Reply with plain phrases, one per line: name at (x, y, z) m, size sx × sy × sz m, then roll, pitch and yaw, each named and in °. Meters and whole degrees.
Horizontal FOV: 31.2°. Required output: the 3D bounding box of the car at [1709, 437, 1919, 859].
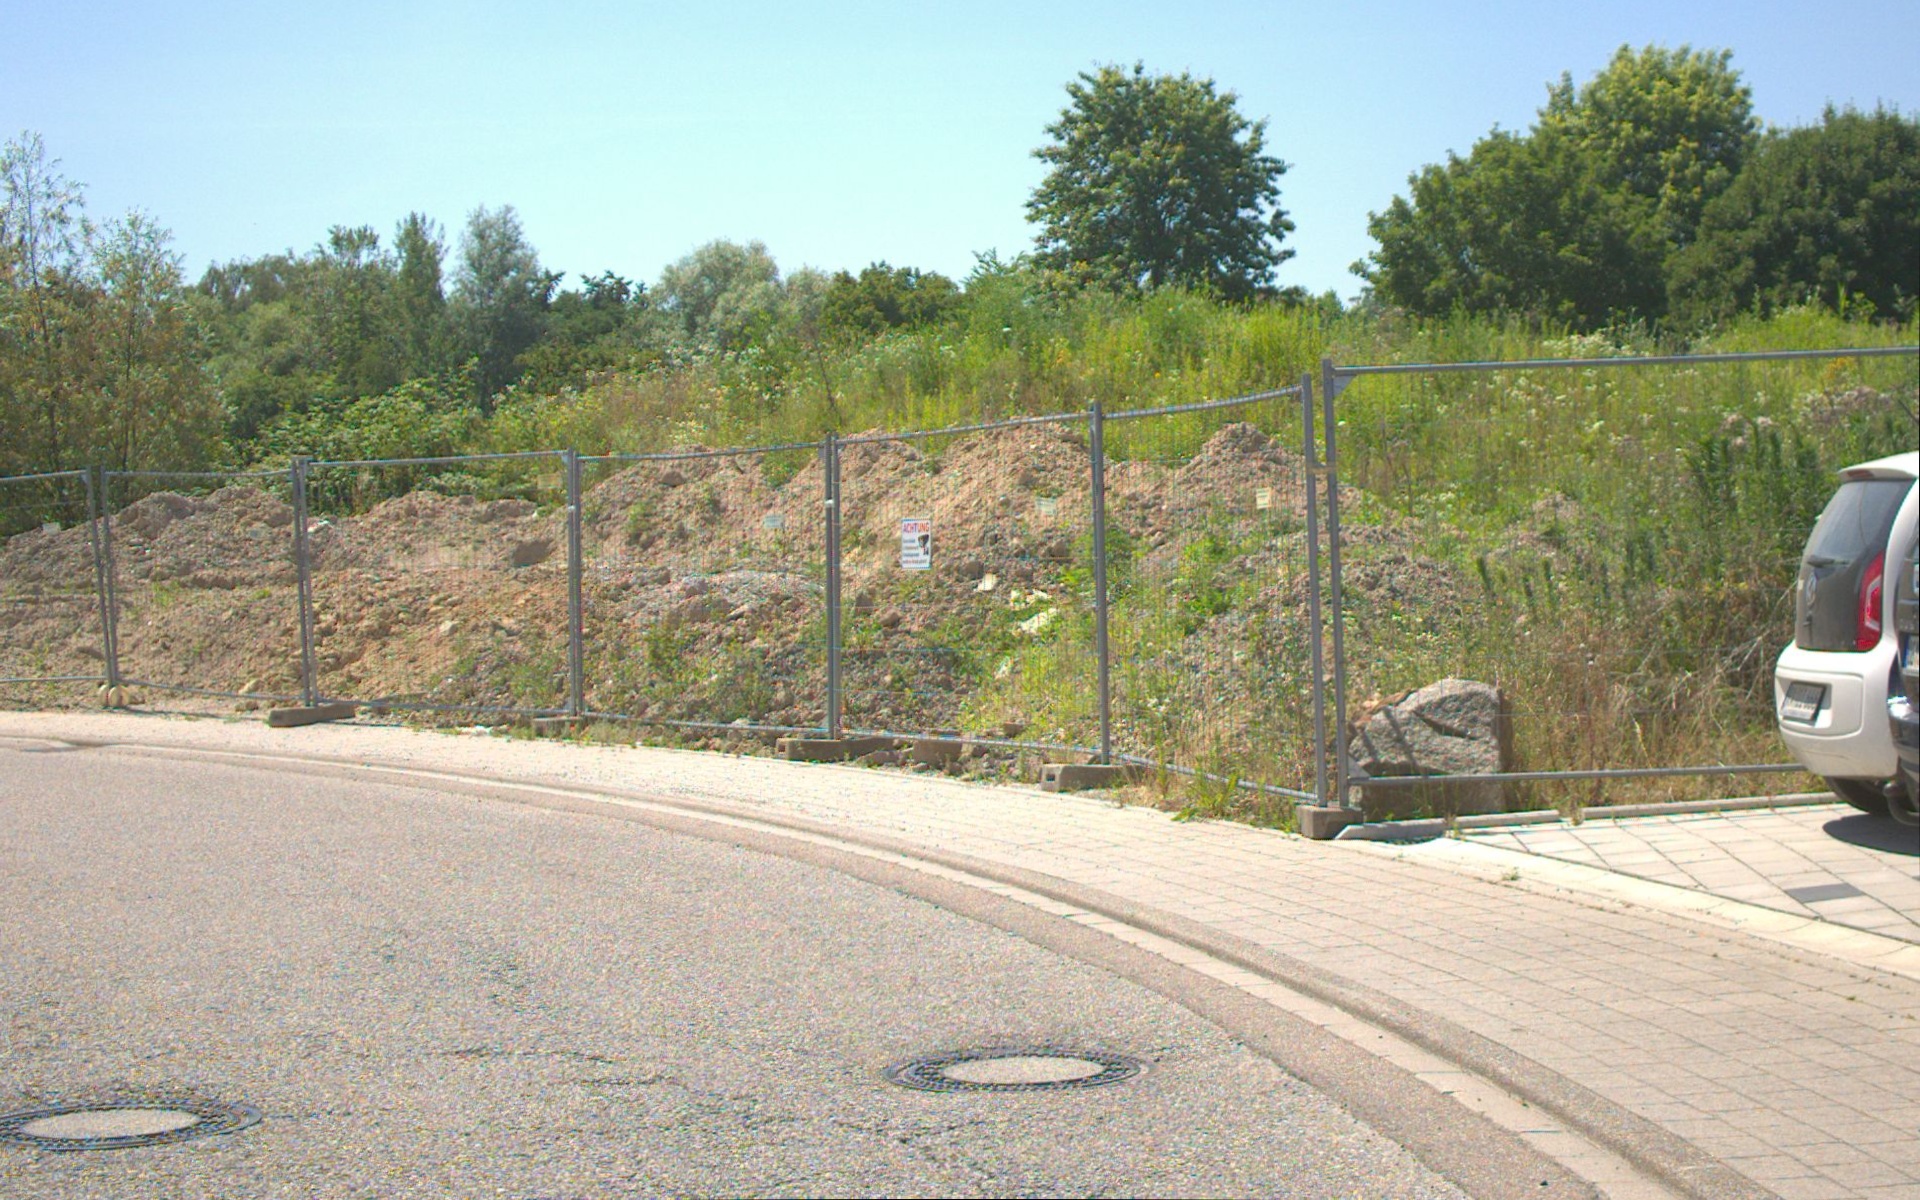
car at (5.082, 0.009, 13.020) m, size 4.010 × 1.457 × 1.893 m, roll -4°, pitch 2°, yaw 1°

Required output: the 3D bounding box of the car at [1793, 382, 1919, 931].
car at (4.806, -0.040, 10.372) m, size 4.010 × 1.649 × 1.858 m, roll -6°, pitch 2°, yaw 2°
